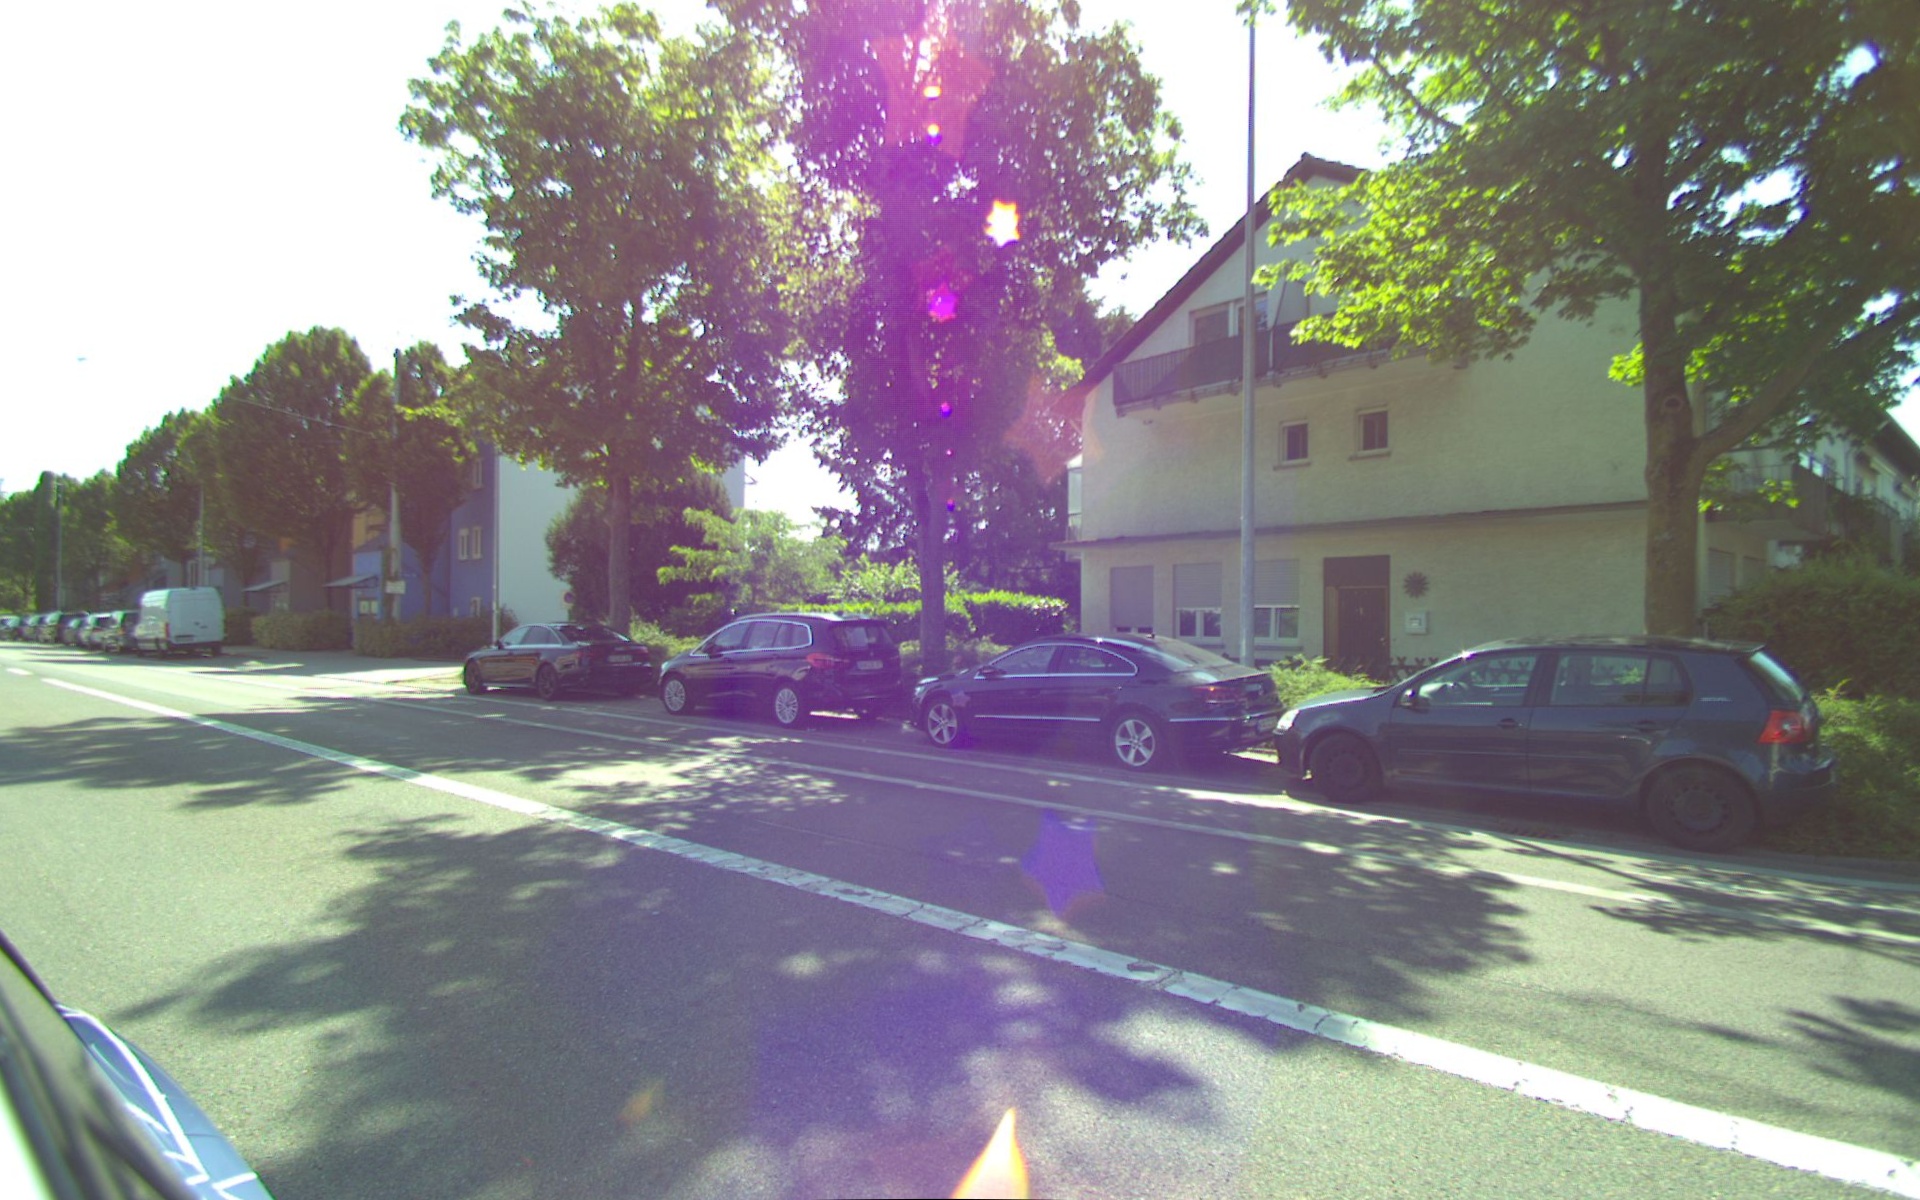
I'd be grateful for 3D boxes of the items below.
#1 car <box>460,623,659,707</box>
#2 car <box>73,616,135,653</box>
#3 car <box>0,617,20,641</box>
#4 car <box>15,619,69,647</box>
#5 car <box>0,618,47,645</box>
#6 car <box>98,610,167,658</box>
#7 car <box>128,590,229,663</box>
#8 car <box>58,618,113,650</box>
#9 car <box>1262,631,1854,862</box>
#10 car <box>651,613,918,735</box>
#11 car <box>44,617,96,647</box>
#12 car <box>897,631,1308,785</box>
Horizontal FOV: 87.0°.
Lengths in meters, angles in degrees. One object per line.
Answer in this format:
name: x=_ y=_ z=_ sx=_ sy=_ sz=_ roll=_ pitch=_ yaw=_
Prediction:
car: x=-7.913 y=1.194 z=19.825 sx=4.453 sy=1.447 sz=1.658 roll=-1 pitch=-2 yaw=39
car: x=-41.784 y=1.642 z=49.360 sx=4.146 sy=1.681 sz=1.657 roll=-1 pitch=2 yaw=41
car: x=-64.105 y=1.964 z=67.359 sx=3.761 sy=1.513 sz=1.659 roll=-1 pitch=1 yaw=38
car: x=-53.878 y=1.915 z=59.368 sx=3.761 sy=1.513 sz=1.659 roll=-1 pitch=1 yaw=38
car: x=-58.399 y=1.937 z=63.007 sx=3.761 sy=1.513 sz=1.659 roll=-1 pitch=1 yaw=38
car: x=-37.318 y=1.491 z=45.614 sx=4.456 sy=1.950 sz=1.657 roll=-1 pitch=2 yaw=41
car: x=-31.177 y=1.016 z=40.290 sx=6.083 sy=2.671 sz=1.990 roll=-1 pitch=1 yaw=41
car: x=-45.807 y=1.741 z=52.994 sx=3.765 sy=1.513 sz=1.657 roll=-1 pitch=2 yaw=41
car: x=4.818 y=1.013 z=8.556 sx=4.082 sy=1.462 sz=1.598 roll=-1 pitch=-2 yaw=43
car: x=-2.775 y=1.033 z=15.465 sx=4.238 sy=1.625 sz=1.658 roll=-1 pitch=-2 yaw=39
car: x=-49.332 y=1.755 z=56.101 sx=3.765 sy=1.513 sz=1.657 roll=-1 pitch=2 yaw=41
car: x=1.475 y=1.096 z=11.745 sx=4.579 sy=1.406 sz=1.679 roll=-1 pitch=-2 yaw=42
